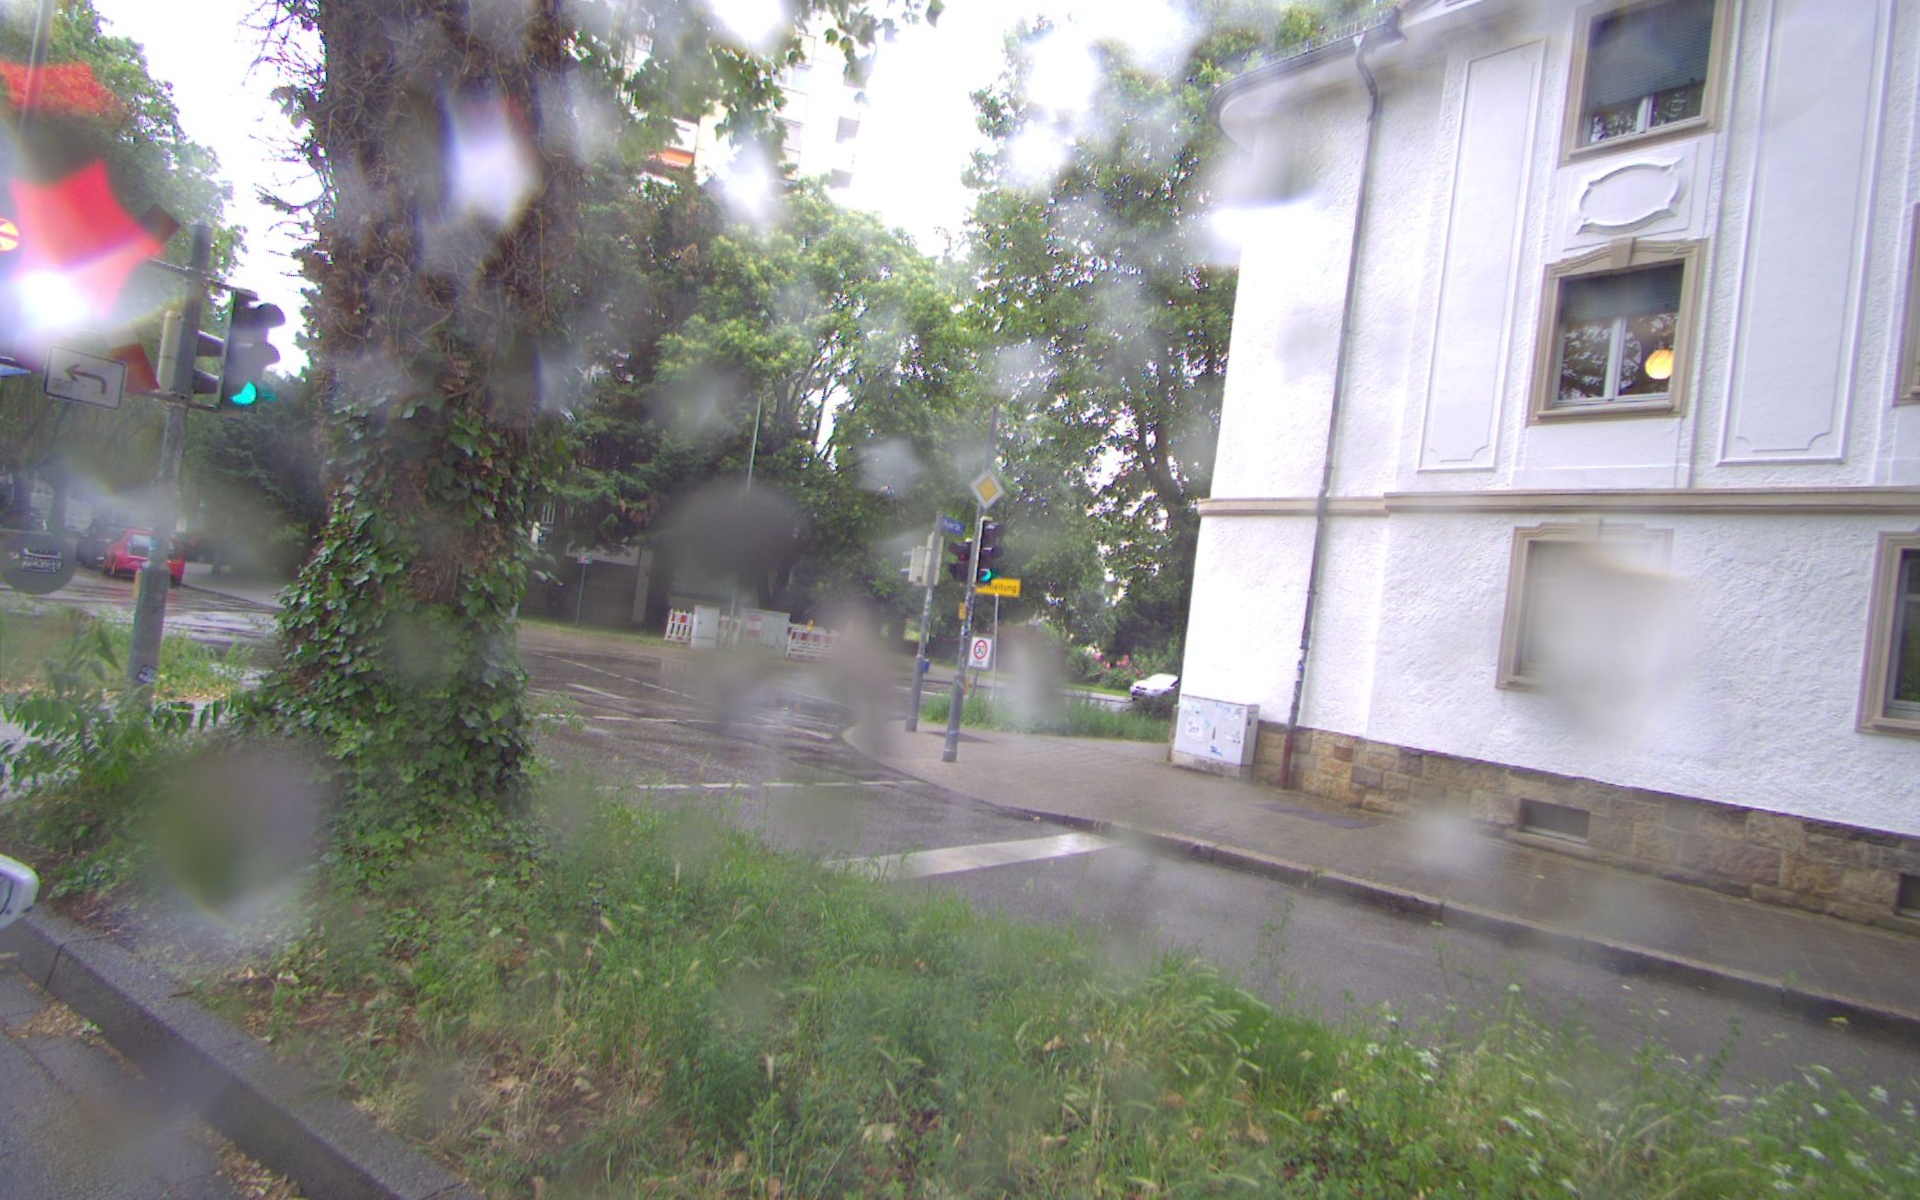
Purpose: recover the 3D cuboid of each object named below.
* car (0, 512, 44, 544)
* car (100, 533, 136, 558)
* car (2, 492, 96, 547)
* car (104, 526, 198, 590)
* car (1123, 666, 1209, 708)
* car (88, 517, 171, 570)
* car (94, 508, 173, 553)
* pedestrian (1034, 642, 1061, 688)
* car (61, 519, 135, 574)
[{"bbox_3d":[-56.210,-4.375,58.617,1.974,1.565,3.980,6,-3,44],"label":"car"},{"bbox_3d":[-60.814,-3.951,72.671,1.673,1.491,3.626,8,-2,-37],"label":"car"},{"bbox_3d":[-61.117,-5.391,67.520,4.680,2.982,2.043,7,-1,12],"label":"car"},{"bbox_3d":[-24.833,-1.305,30.836,1.788,1.515,3.950,10,-2,-44],"label":"car"},{"bbox_3d":[9.409,3.990,45.803,1.829,1.473,3.979,6,-3,45],"label":"car"},{"bbox_3d":[-28.100,-1.933,33.992,1.780,1.363,3.879,10,-2,-44],"label":"car"},{"bbox_3d":[-69.657,-5.845,84.800,4.683,2.982,2.001,7,-1,1],"label":"car"},{"bbox_3d":[3.727,2.769,42.899,0.707,1.863,0.676,7,-1,-22],"label":"pedestrian"},{"bbox_3d":[-32.986,-2.074,38.446,1.779,1.747,3.951,9,-2,-44],"label":"car"}]
